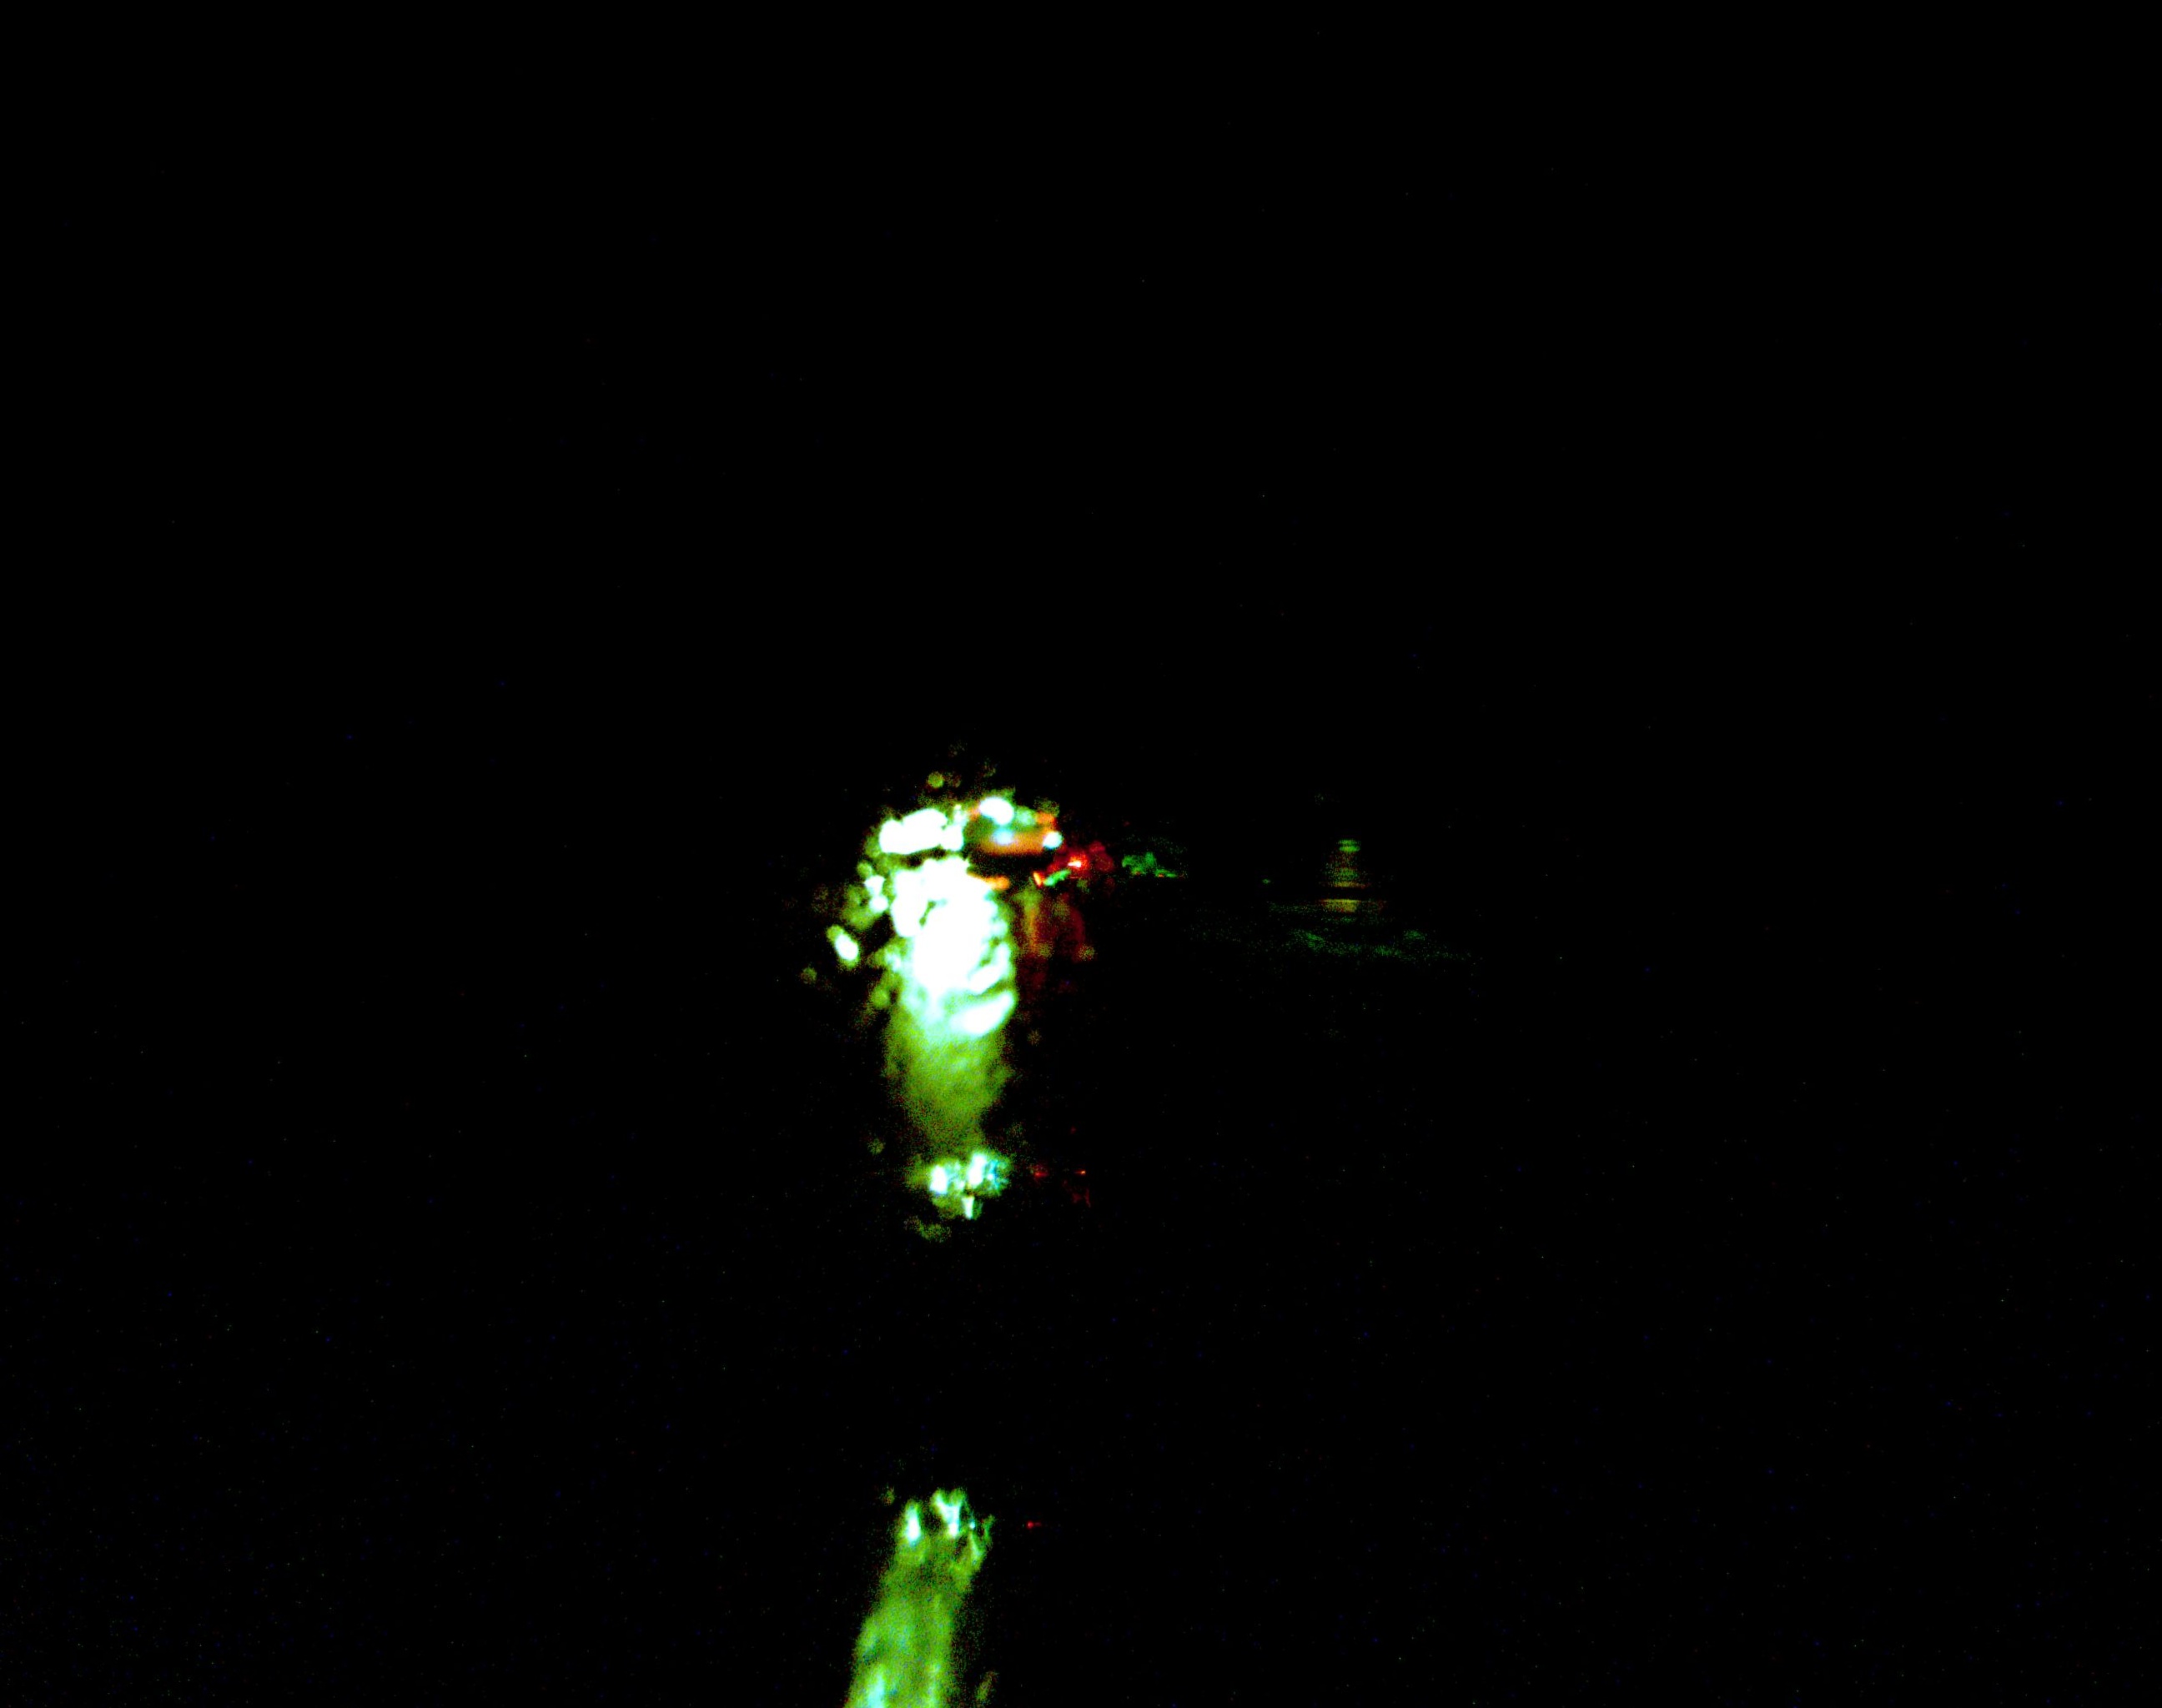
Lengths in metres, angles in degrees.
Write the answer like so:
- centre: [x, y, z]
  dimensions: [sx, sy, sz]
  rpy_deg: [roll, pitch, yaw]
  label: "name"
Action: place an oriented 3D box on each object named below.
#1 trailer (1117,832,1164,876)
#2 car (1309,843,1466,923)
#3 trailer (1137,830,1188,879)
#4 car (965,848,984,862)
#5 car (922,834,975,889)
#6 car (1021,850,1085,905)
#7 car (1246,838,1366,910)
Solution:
- centre: [3.395, -0.023, 47.420]
  dimensions: [1.629, 2.364, 4.639]
  rpy_deg: [3, 0, -9]
  label: "trailer"
- centre: [7.645, 0.663, 20.783]
  dimensions: [1.878, 1.809, 4.141]
  rpy_deg: [2, 0, -11]
  label: "car"
- centre: [4.221, -0.005, 42.685]
  dimensions: [1.604, 2.352, 4.420]
  rpy_deg: [3, 0, -7]
  label: "trailer"
- centre: [-12.004, 0.104, 91.878]
  dimensions: [1.992, 1.460, 4.886]
  rpy_deg: [-1, 0, -7]
  label: "car"
- centre: [-5.434, 0.291, 33.938]
  dimensions: [1.916, 2.057, 4.876]
  rpy_deg: [2, 0, -7]
  label: "car"
- centre: [-1.002, 0.726, 27.069]
  dimensions: [1.800, 1.628, 3.607]
  rpy_deg: [1, 0, -7]
  label: "car"
- centre: [6.956, 0.575, 25.716]
  dimensions: [1.879, 2.040, 4.374]
  rpy_deg: [2, 0, -11]
  label: "car"
